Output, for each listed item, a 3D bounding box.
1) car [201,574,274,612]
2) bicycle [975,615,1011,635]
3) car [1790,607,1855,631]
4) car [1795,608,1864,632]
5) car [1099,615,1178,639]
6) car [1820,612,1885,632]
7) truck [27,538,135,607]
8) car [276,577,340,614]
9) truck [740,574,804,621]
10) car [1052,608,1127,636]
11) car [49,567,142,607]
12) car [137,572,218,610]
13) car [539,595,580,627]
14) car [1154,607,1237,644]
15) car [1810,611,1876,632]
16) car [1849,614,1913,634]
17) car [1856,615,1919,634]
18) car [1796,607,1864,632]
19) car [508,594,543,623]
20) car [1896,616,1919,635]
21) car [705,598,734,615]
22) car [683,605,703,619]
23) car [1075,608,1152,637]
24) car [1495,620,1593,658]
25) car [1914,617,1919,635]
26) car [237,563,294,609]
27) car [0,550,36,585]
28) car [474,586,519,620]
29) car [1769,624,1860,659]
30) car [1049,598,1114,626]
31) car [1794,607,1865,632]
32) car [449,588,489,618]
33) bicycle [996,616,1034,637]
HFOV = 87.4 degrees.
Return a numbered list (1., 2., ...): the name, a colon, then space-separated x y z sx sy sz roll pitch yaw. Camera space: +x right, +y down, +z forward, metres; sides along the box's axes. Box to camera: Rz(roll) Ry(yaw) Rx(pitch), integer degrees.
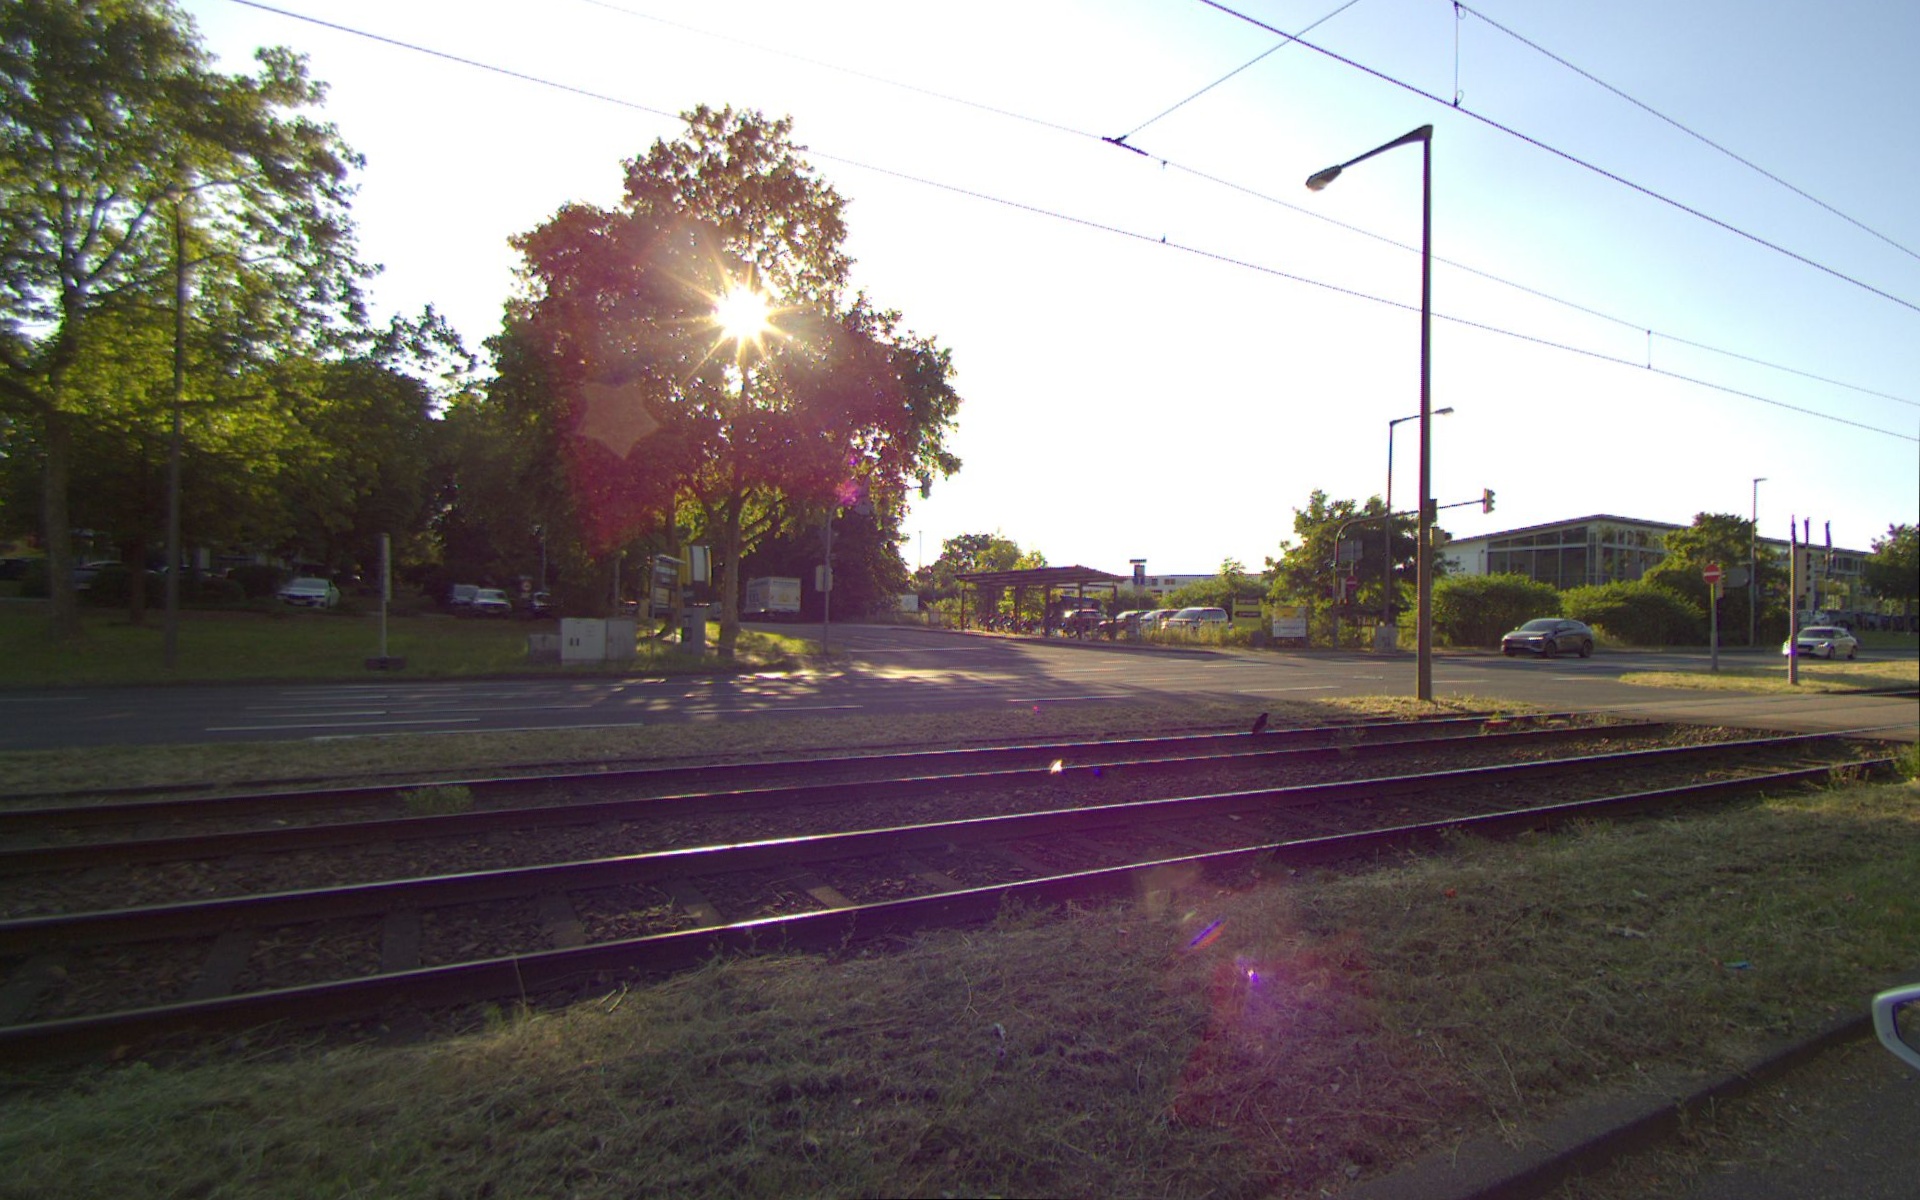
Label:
1. car: -32.107 -0.305 44.764 1.916 1.530 4.071 2 0 -26
2. bicycle: 1.936 1.459 59.055 2.004 1.119 0.777 2 0 -30
3. car: 69.335 1.505 80.829 3.940 1.840 1.735 1 0 40
4. car: 66.735 1.489 77.172 3.940 1.727 1.735 1 0 40
5. car: 9.947 1.492 55.873 4.123 1.284 1.853 1 0 -30
6. car: 74.218 1.839 83.612 3.940 1.577 1.735 1 0 40
7. truck: -44.506 -1.323 51.074 2.468 3.209 6.187 2 0 -26
8. car: -29.426 -0.205 45.446 1.916 1.530 4.071 2 0 -26
9. truck: -15.012 -0.208 79.811 2.782 3.520 8.291 1 0 -27
10. car: 7.724 1.296 59.999 4.123 1.604 1.968 1 0 -30
11. car: -36.081 -0.540 42.029 1.916 1.530 4.071 2 0 -26
12. car: -33.949 -0.378 43.692 1.916 1.530 4.071 2 0 -26
13. car: -20.432 0.536 51.145 1.604 1.477 3.878 2 0 -27
14. car: 12.370 1.331 52.741 4.123 1.846 1.853 1 0 -30
15. car: 71.998 1.744 81.945 3.940 1.577 1.735 1 0 40
16. car: 79.624 2.061 86.893 3.940 1.577 1.735 1 0 40
17. car: 81.776 2.148 88.511 1.728 1.576 3.957 1 0 -37
18. car: 68.373 1.488 78.984 3.940 1.840 1.735 1 0 40
19. car: -26.211 0.519 60.691 1.836 1.637 4.036 2 0 -23
20. car: 88.393 2.381 91.742 1.725 1.642 3.962 1 0 -34
21. car: -22.755 0.594 94.969 1.711 1.603 4.028 1 0 -27
22. car: -33.304 1.477 125.361 1.887 1.602 4.036 2 0 -21
23. car: 8.828 1.289 57.804 4.123 1.604 1.853 1 0 -30
24. car: 25.394 1.674 43.662 4.120 1.501 1.854 1 0 -29
25. car: 91.308 2.497 93.022 1.725 1.642 3.962 1 0 -34
26. car: -37.289 -0.733 54.016 2.138 2.334 4.370 2 0 -31
27. car: -53.852 -1.861 56.391 2.274 1.875 5.220 2 0 -36
28. car: -22.928 0.124 49.596 1.916 1.530 4.071 2 0 -26
29. car: 40.292 1.940 47.341 4.038 1.501 1.855 1 0 -27
30. car: 9.297 0.942 76.670 4.715 2.041 1.853 1 0 -30
31. car: 65.189 1.440 75.372 3.940 1.727 1.735 1 0 40
32. car: -28.565 0.142 58.502 1.836 1.637 4.036 2 0 -23
33. bicycle: 3.077 1.481 56.418 2.004 1.119 0.777 2 0 -30
